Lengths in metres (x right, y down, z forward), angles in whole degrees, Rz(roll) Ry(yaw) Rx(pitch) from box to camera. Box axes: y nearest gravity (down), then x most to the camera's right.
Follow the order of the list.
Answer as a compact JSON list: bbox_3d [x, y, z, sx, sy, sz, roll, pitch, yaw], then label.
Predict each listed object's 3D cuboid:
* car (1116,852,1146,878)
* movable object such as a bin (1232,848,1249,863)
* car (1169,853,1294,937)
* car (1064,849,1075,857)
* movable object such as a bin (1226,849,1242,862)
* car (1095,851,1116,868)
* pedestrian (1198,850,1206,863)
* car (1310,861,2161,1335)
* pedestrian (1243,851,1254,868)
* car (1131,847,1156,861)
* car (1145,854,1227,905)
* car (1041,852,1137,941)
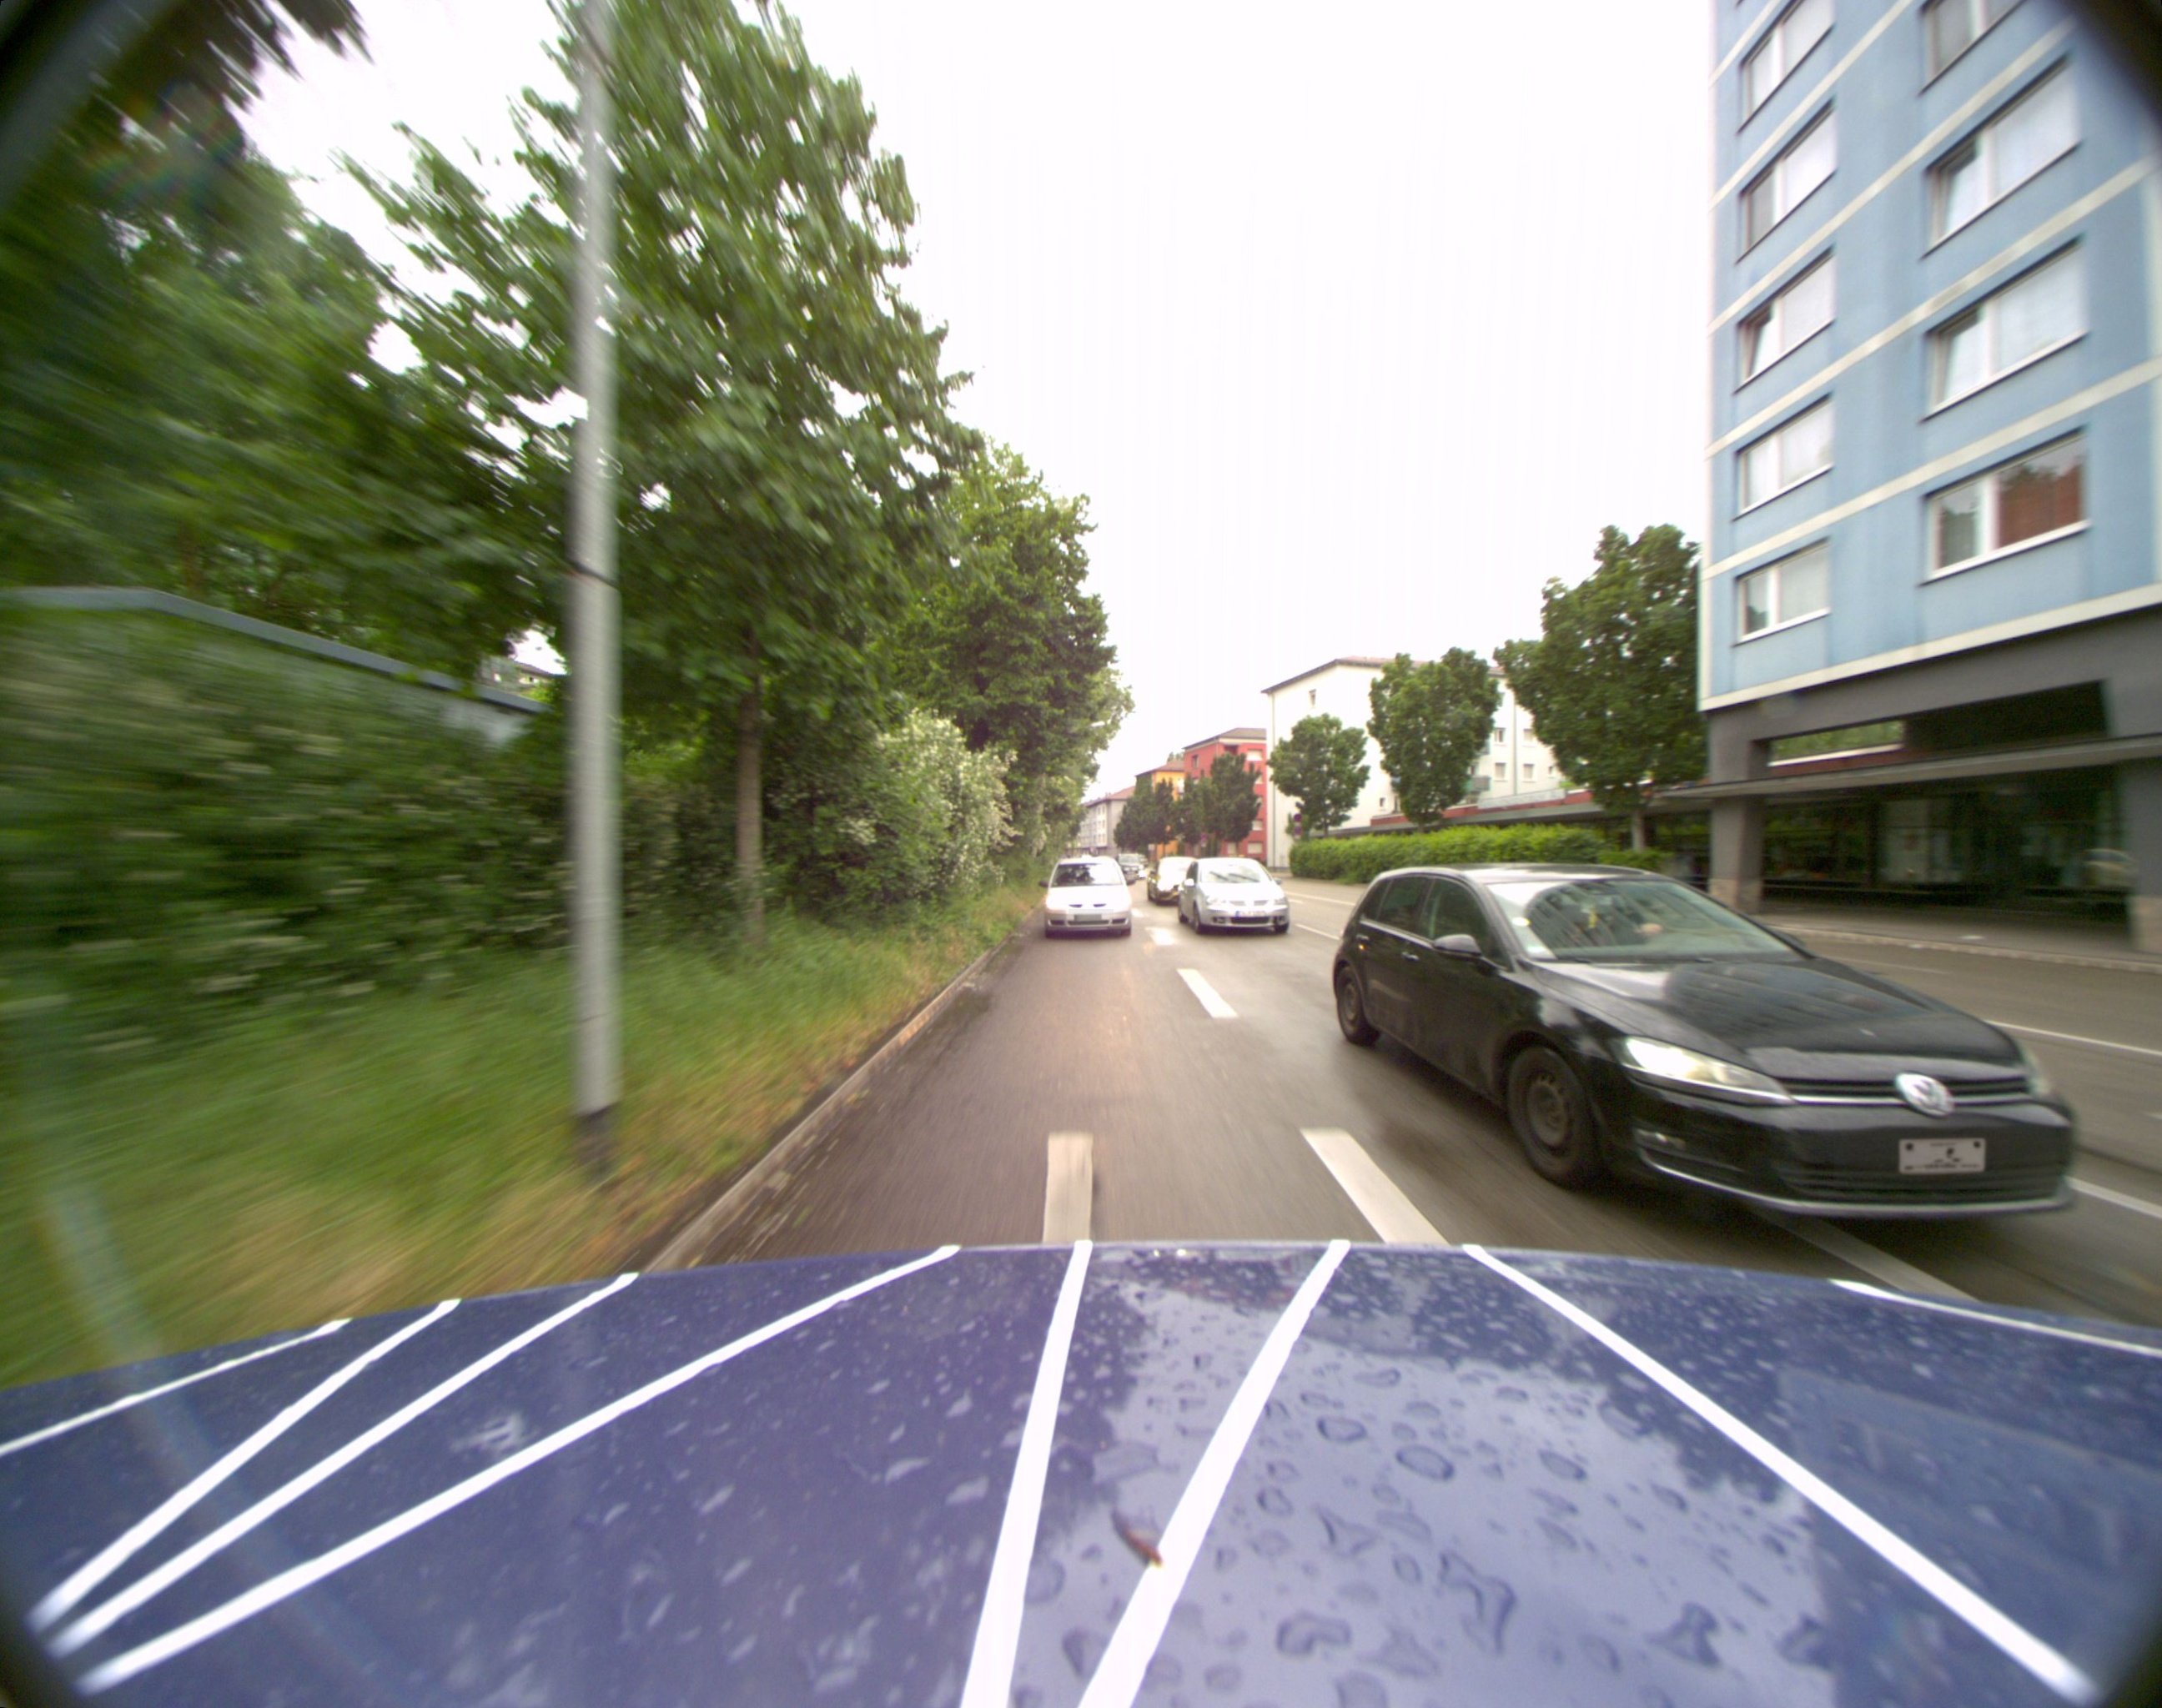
[{"bbox_3d":[3.191,0.662,49.011,1.735,1.590,3.999,-1,1,0],"label":"car"},{"bbox_3d":[16.731,0.159,79.684,1.219,1.476,2.086,0,0,-6],"label":"movable object such as a bin"},{"bbox_3d":[2.950,0.744,15.757,1.748,1.478,4.161,0,1,0],"label":"car"},{"bbox_3d":[-2.794,-0.228,187.260,1.906,1.859,4.310,-1,1,-11],"label":"car"},{"bbox_3d":[16.518,0.180,81.851,1.161,1.323,1.965,0,0,-6],"label":"movable object such as a bin"},{"bbox_3d":[2.919,0.650,91.383,1.999,1.815,3.997,-3,1,-6],"label":"car"},{"bbox_3d":[13.928,0.276,87.774,0.673,1.441,0.835,0,0,-9],"label":"pedestrian"},{"bbox_3d":[2.834,0.813,4.460,1.760,1.444,4.000,1,0,0],"label":"car"},{"bbox_3d":[15.181,0.505,68.830,0.694,1.508,1.068,0,0,-9],"label":"pedestrian"},{"bbox_3d":[7.666,-0.010,93.639,2.000,1.739,4.804,0,0,-8],"label":"car"},{"bbox_3d":[3.252,0.744,24.505,2.071,1.455,4.586,-1,0,1],"label":"car"},{"bbox_3d":[0.146,0.809,16.658,1.755,1.587,4.168,-3,1,0],"label":"car"}]
